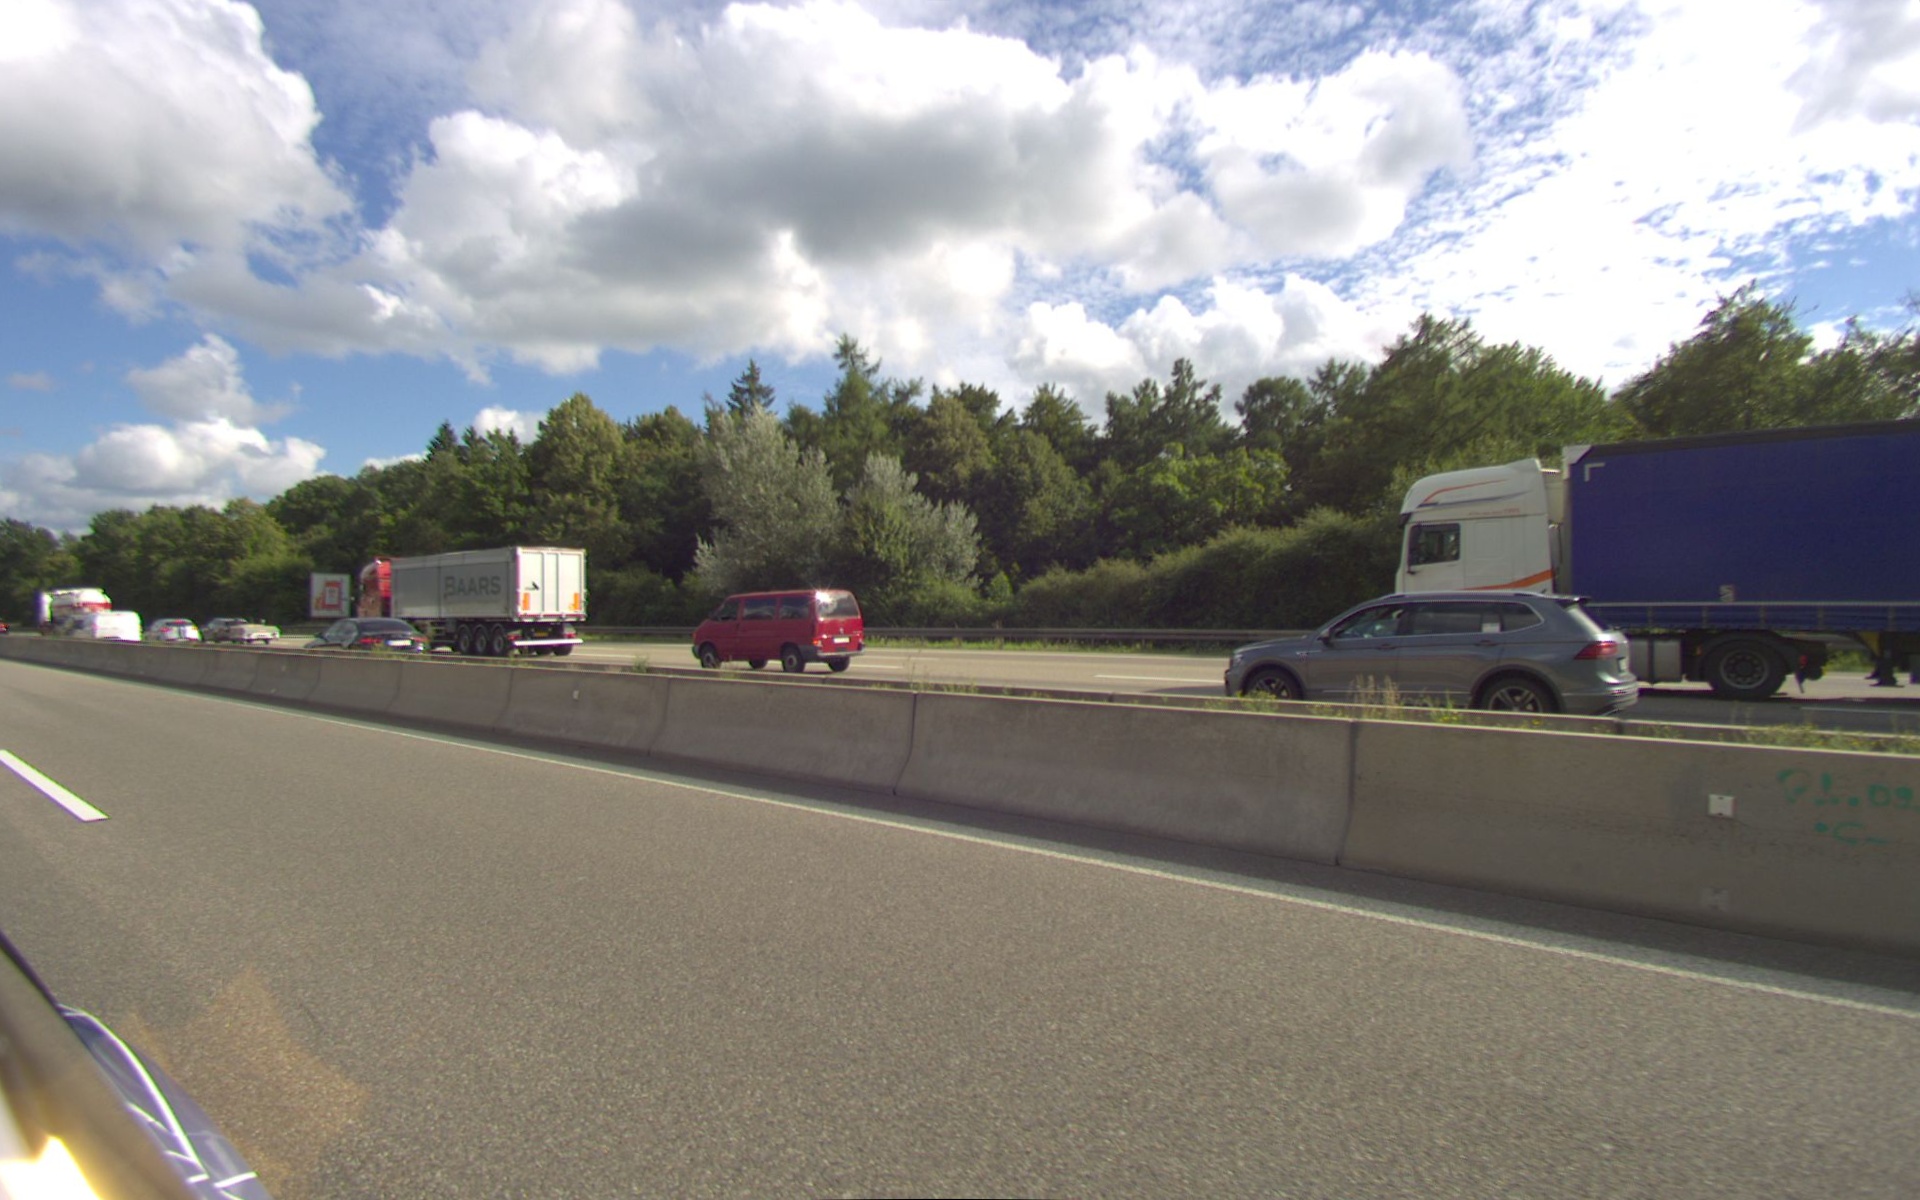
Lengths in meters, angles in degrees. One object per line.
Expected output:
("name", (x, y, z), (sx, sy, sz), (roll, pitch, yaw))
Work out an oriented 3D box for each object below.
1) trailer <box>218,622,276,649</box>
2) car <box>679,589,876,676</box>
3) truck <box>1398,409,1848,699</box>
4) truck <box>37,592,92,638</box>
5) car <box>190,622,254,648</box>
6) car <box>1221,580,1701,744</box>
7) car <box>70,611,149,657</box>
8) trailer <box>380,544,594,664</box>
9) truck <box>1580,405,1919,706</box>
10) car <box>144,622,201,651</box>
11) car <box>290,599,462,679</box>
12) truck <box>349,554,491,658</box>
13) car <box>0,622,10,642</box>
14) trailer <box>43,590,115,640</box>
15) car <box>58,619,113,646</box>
("trailer", (-39.228, 1.945, 55.671), (4.175, 1.413, 1.519), (-1, -1, 39))
("car", (-4.552, 0.796, 24.849), (5.024, 1.955, 1.830), (-1, -2, 36))
("truck", (11.167, -0.599, 17.429), (6.057, 4.125, 2.790), (-1, -1, 41))
("truck", (-78.753, 1.335, 88.958), (6.440, 3.975, 2.760), (-1, -1, 40))
("car", (-42.664, 1.996, 58.460), (4.669, 1.425, 1.809), (-1, -1, 39))
("car", (5.837, 0.679, 12.225), (4.910, 1.608, 1.825), (-1, -2, 40))
("car", (-37.152, 1.466, 44.180), (4.611, 1.892, 1.830), (-1, -1, 39))
("trailer", (-17.933, 0.238, 37.768), (11.275, 3.887, 2.936), (-1, -1, 41))
("truck", (16.288, -0.660, 13.050), (13.836, 4.125, 2.790), (-1, -1, 41))
("car", (-40.460, 1.842, 51.951), (3.998, 1.413, 1.586), (-1, -1, 41))
("car", (-15.356, 0.966, 26.486), (5.356, 1.892, 2.150), (-1, -1, 39))
("truck", (-22.187, 0.288, 41.449), (6.761, 3.887, 2.936), (-1, -1, 41))
("car", (-85.073, 2.795, 88.814), (5.205, 1.683, 1.836), (-1, -1, 39))
("trailer", (-74.118, 1.281, 85.041), (12.243, 3.975, 2.759), (-1, -1, 40))
("car", (-57.404, 2.142, 66.411), (4.681, 1.676, 1.974), (-1, -1, 39))
